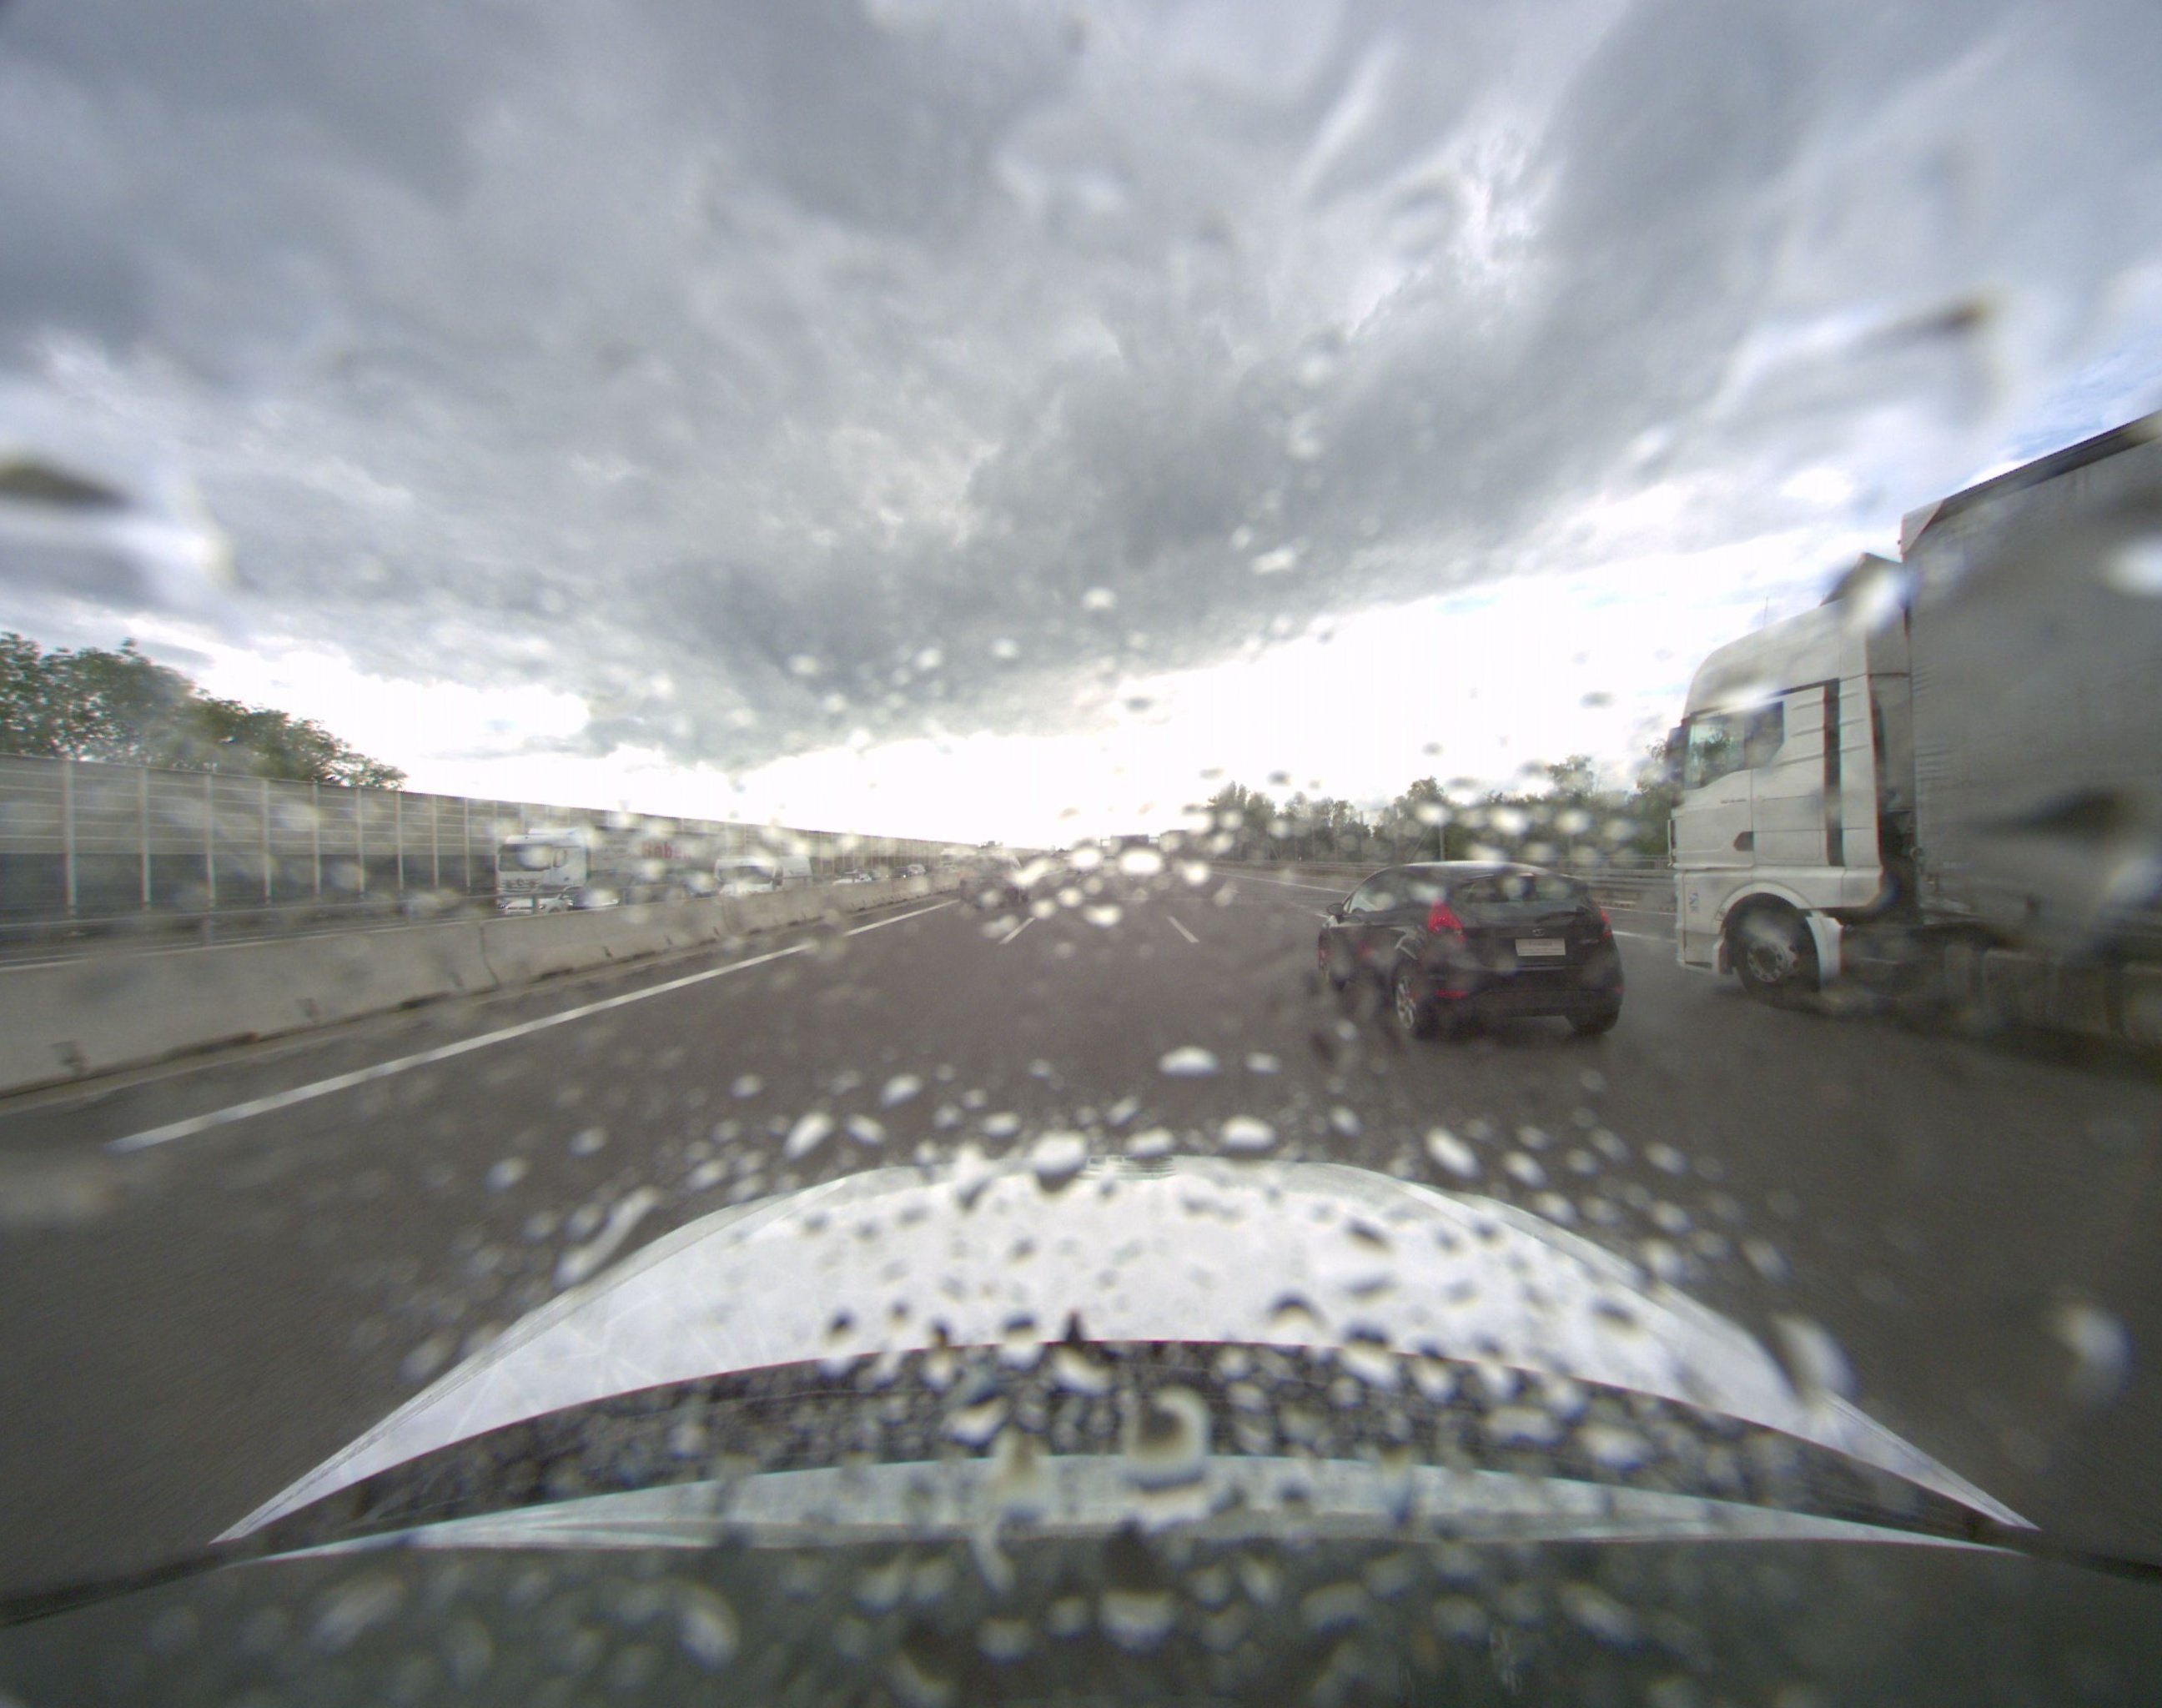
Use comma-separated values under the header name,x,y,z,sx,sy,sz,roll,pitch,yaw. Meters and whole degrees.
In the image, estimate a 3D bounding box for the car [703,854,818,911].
name,x,y,z,sx,sy,sz,roll,pitch,yaw
car,-13.062,1.073,33.711,2.151,2.071,6.017,-2,0,2

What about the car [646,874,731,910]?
name,x,y,z,sx,sy,sz,roll,pitch,yaw
car,-20.135,1.909,42.052,1.741,1.525,5.142,-2,0,2

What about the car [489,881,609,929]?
name,x,y,z,sx,sy,sz,roll,pitch,yaw
car,-20.455,1.910,31.543,1.741,1.525,4.180,-2,0,2

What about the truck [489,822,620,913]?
name,x,y,z,sx,sy,sz,roll,pitch,yaw
truck,-24.292,0.587,37.874,2.567,3.935,5.179,0,0,2

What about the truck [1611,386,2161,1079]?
name,x,y,z,sx,sy,sz,roll,pitch,yaw
truck,7.794,-0.737,6.460,2.951,4.019,6.590,-1,0,1

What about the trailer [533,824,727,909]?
name,x,y,z,sx,sy,sz,roll,pitch,yaw
trailer,-24.022,0.555,44.894,2.553,3.935,13.823,0,0,2

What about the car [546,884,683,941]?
name,x,y,z,sx,sy,sz,roll,pitch,yaw
car,-16.925,2.081,29.880,2.071,1.659,4.804,-2,0,2

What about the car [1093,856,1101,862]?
name,x,y,z,sx,sy,sz,roll,pitch,yaw
car,4.116,1.193,207.408,1.767,1.441,3.872,-1,0,-1

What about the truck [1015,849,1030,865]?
name,x,y,z,sx,sy,sz,roll,pitch,yaw
truck,-12.225,0.627,171.336,2.312,3.347,8.357,0,0,2

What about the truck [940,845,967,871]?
name,x,y,z,sx,sy,sz,roll,pitch,yaw
truck,-20.927,0.577,134.485,2.700,4.074,8.919,0,0,2

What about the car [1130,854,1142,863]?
name,x,y,z,sx,sy,sz,roll,pitch,yaw
car,9.491,0.752,141.712,1.829,1.441,4.055,-1,0,0

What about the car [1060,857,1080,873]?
name,x,y,z,sx,sy,sz,roll,pitch,yaw
car,-1.045,1.051,76.949,1.755,1.369,5.058,-1,0,-1

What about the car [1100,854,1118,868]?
name,x,y,z,sx,sy,sz,roll,pitch,yaw
car,3.148,0.809,92.419,1.767,1.441,4.053,-1,0,-1

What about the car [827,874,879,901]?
name,x,y,z,sx,sy,sz,roll,pitch,yaw
car,-15.720,2.261,56.440,1.916,1.599,5.098,-2,0,2

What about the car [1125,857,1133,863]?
name,x,y,z,sx,sy,sz,roll,pitch,yaw
car,11.852,1.441,200.829,1.829,1.441,4.055,-1,0,0

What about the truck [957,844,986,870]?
name,x,y,z,sx,sy,sz,roll,pitch,yaw
truck,-16.877,0.460,125.983,3.067,3.935,8.057,0,0,2

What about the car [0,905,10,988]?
name,x,y,z,sx,sy,sz,roll,pitch,yaw
car,-21.192,1.770,12.931,1.875,1.525,4.823,-2,0,2

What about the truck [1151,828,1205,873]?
name,x,y,z,sx,sy,sz,roll,pitch,yaw
truck,9.990,-0.361,85.371,4.166,4.288,12.612,0,0,0

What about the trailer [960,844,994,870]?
name,x,y,z,sx,sy,sz,roll,pitch,yaw
trailer,-16.672,0.432,131.827,3.067,3.935,14.989,0,0,2

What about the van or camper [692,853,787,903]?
name,x,y,z,sx,sy,sz,roll,pitch,yaw
van or camper,-20.012,1.297,48.204,2.335,2.641,7.153,-2,0,2

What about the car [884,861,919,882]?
name,x,y,z,sx,sy,sz,roll,pitch,yaw
car,-15.623,1.508,71.171,1.916,1.599,4.254,-2,0,2

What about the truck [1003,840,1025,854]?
name,x,y,z,sx,sy,sz,roll,pitch,yaw
truck,-15.854,-1.621,194.224,3.254,3.352,16.092,0,0,2

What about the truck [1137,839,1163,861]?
name,x,y,z,sx,sy,sz,roll,pitch,yaw
truck,13.614,-0.752,161.092,4.229,4.176,11.990,0,0,1

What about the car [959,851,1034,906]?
name,x,y,z,sx,sy,sz,roll,pitch,yaw
car,-2.796,0.755,28.035,1.902,1.691,5.170,-1,0,1

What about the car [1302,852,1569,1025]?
name,x,y,z,sx,sy,sz,roll,pitch,yaw
car,3.447,0.716,8.524,1.442,1.441,3.164,-1,0,1
